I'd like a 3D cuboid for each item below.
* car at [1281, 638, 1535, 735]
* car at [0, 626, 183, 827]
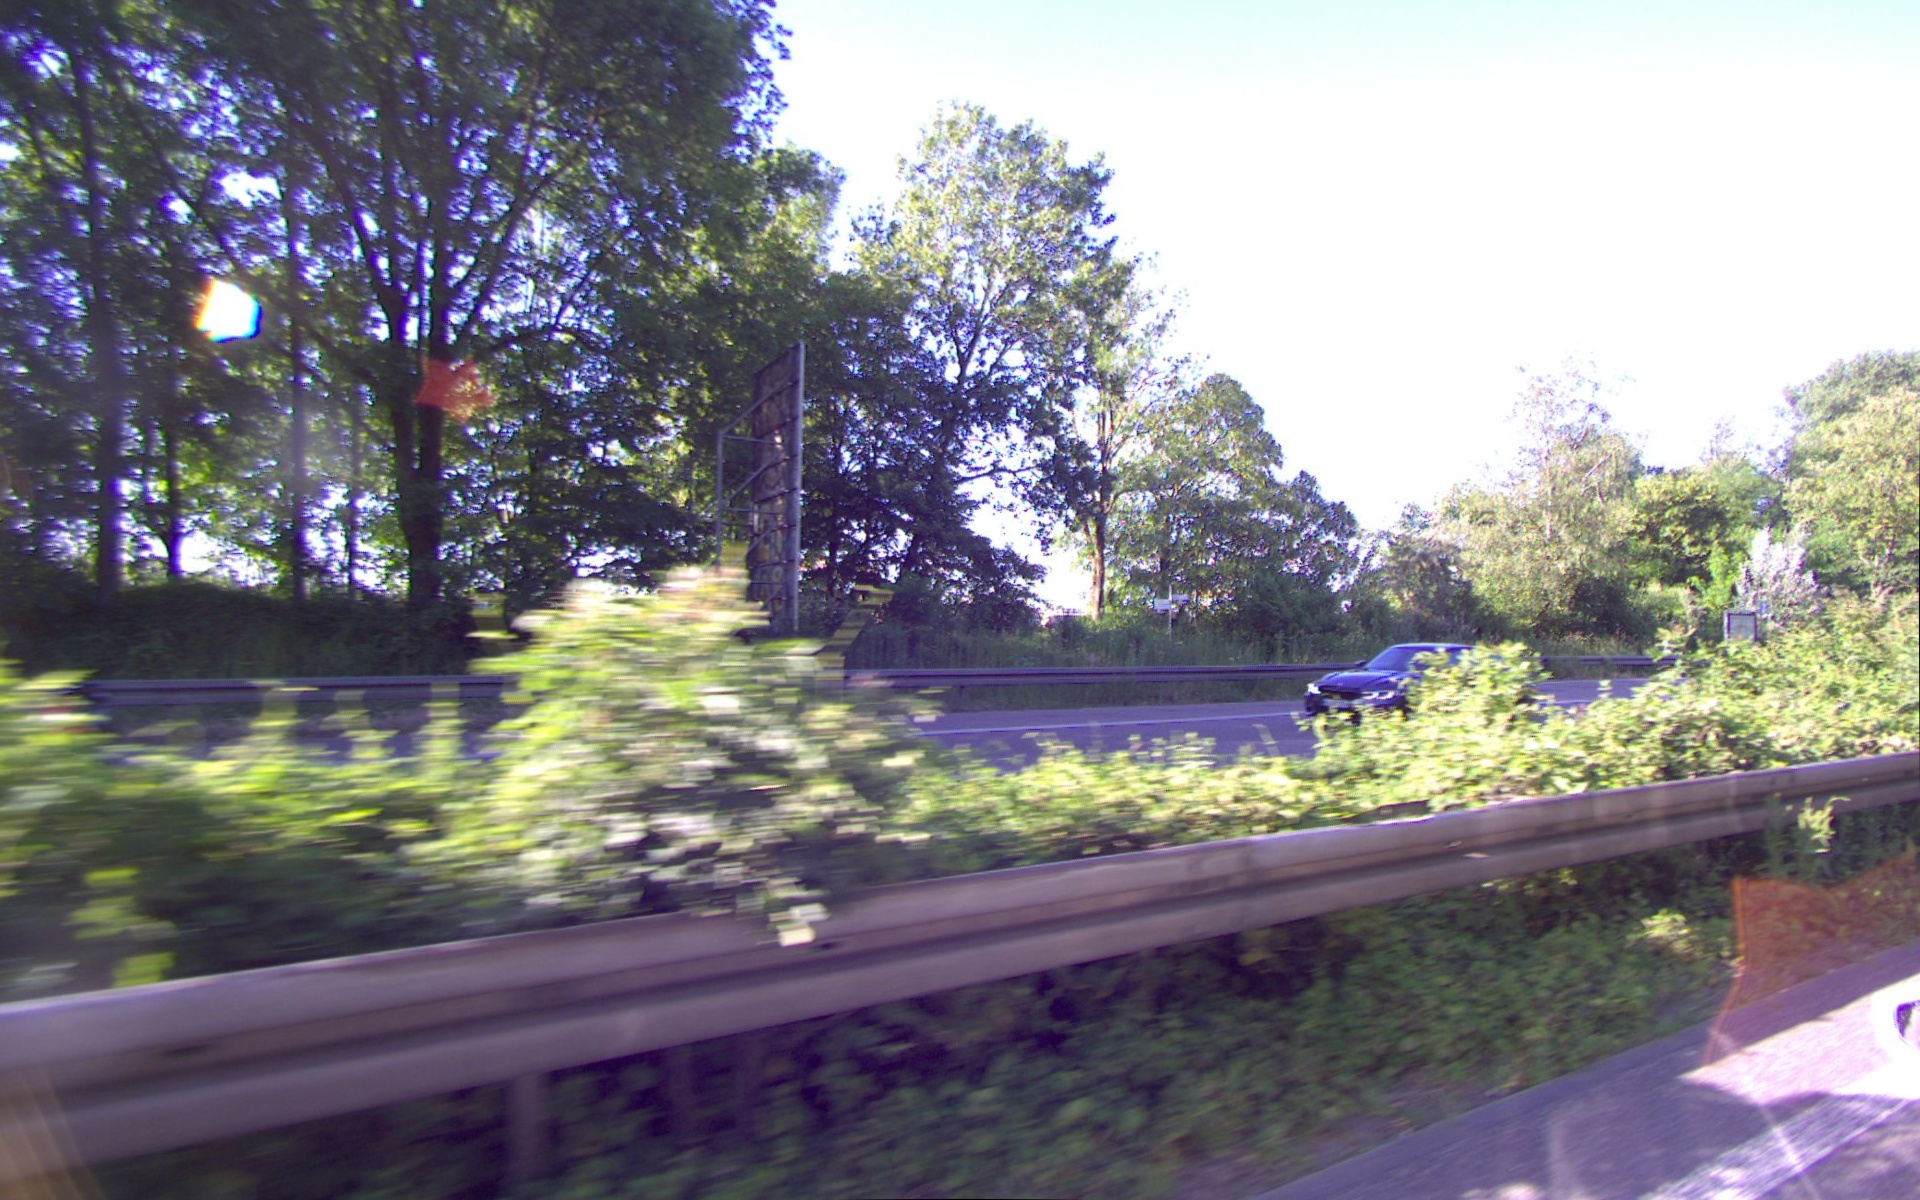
[{"bbox_3d":[7.881,1.424,17.568,4.457,1.469,1.950,2,-2,-33],"label":"car"},{"bbox_3d":[-8.928,0.949,7.719,4.457,1.469,1.949,2,0,-33],"label":"car"}]
